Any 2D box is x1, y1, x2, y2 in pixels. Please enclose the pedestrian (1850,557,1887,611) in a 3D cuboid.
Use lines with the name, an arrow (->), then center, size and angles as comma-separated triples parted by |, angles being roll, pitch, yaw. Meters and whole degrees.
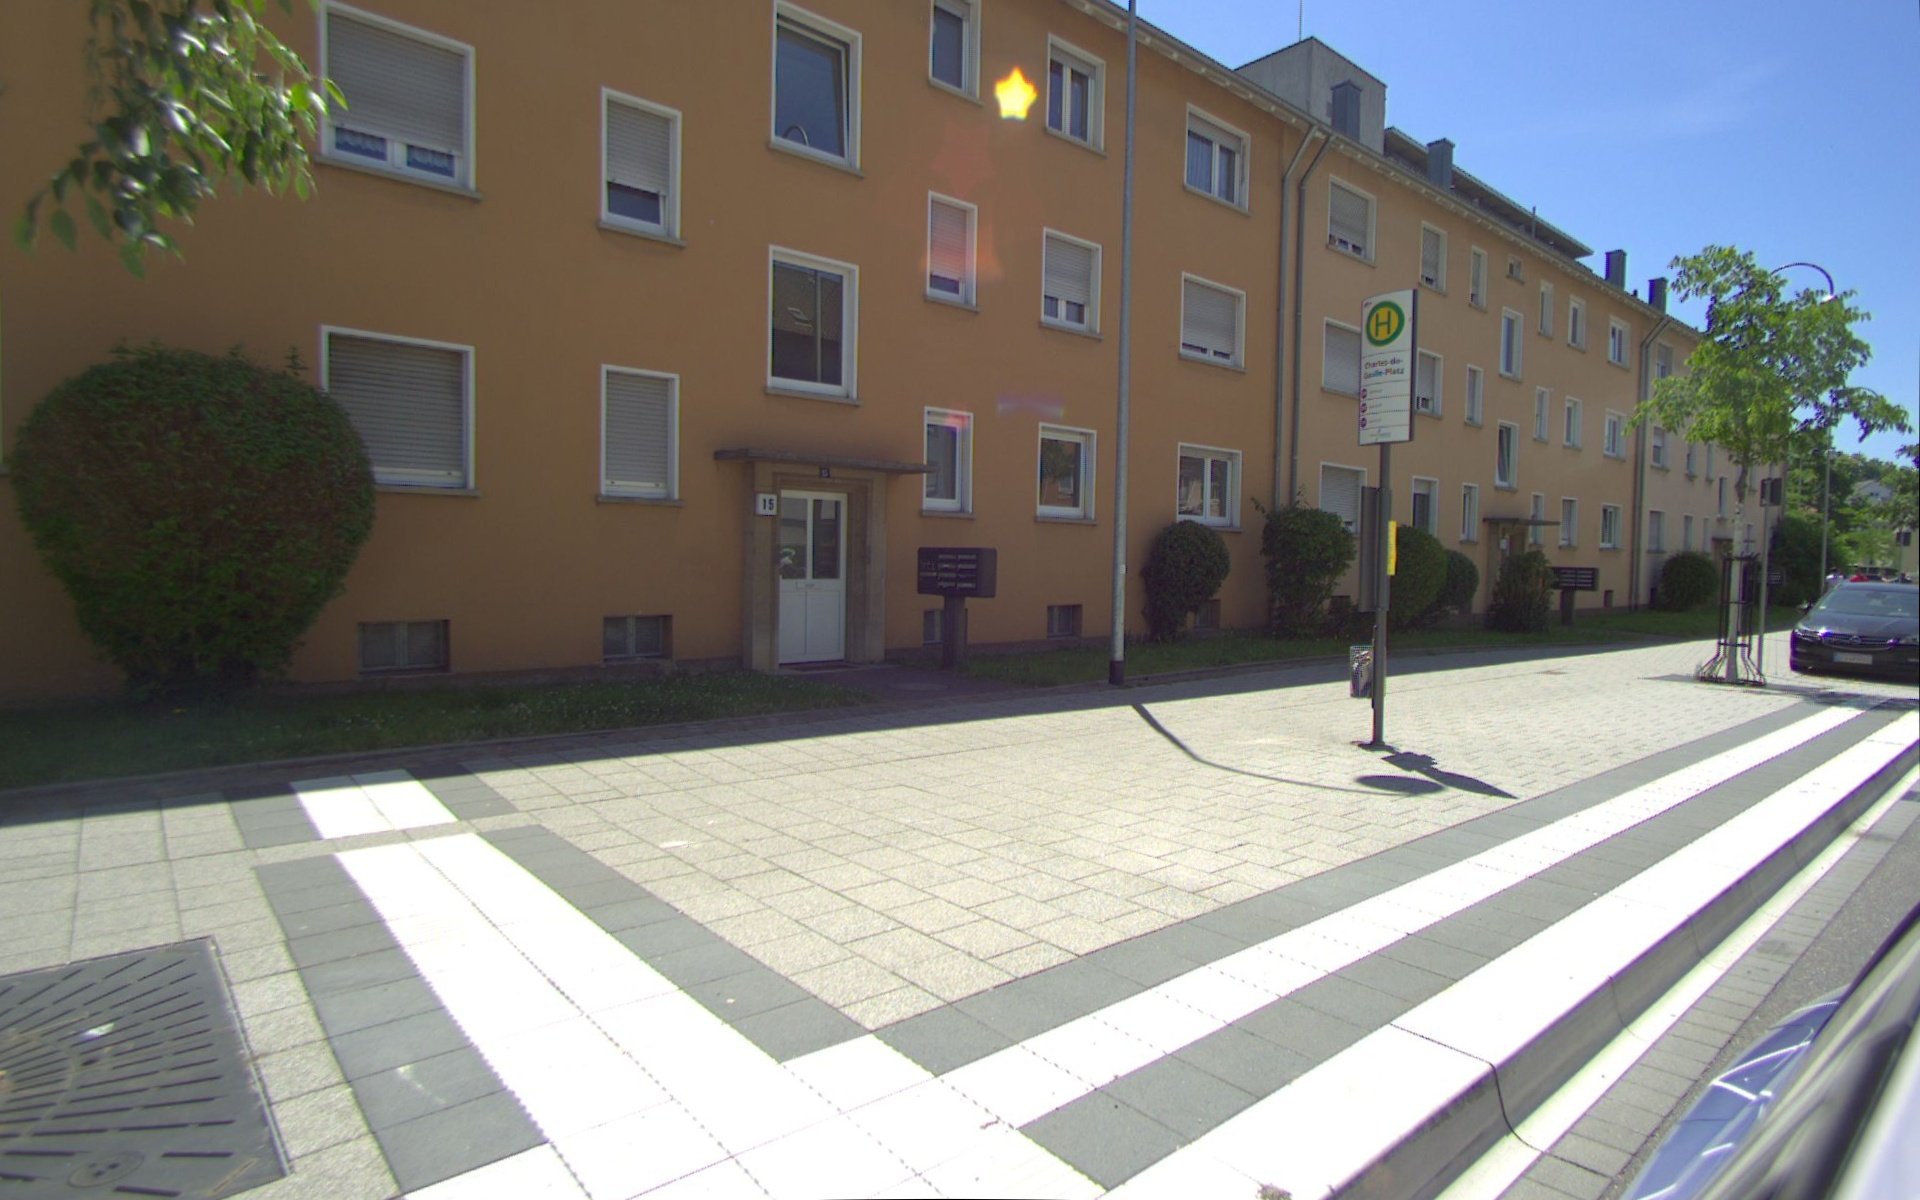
pedestrian -> 32.479, -0.577, 36.166 | 0.990, 1.832, 0.789 | -1, 5, -44

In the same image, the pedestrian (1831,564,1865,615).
pedestrian -> 32.314, -0.391, 36.821 | 0.992, 1.800, 0.794 | -1, 3, -44

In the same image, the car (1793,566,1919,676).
car -> 15.543, 0.280, 16.750 | 4.976, 1.522, 1.838 | -1, 5, -41

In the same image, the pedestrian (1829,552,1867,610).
pedestrian -> 29.788, -0.643, 33.957 | 0.968, 1.876, 0.821 | 0, 3, -44

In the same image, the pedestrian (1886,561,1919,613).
pedestrian -> 33.519, -0.466, 35.637 | 1.172, 1.753, 1.172 | 7, 6, 45
